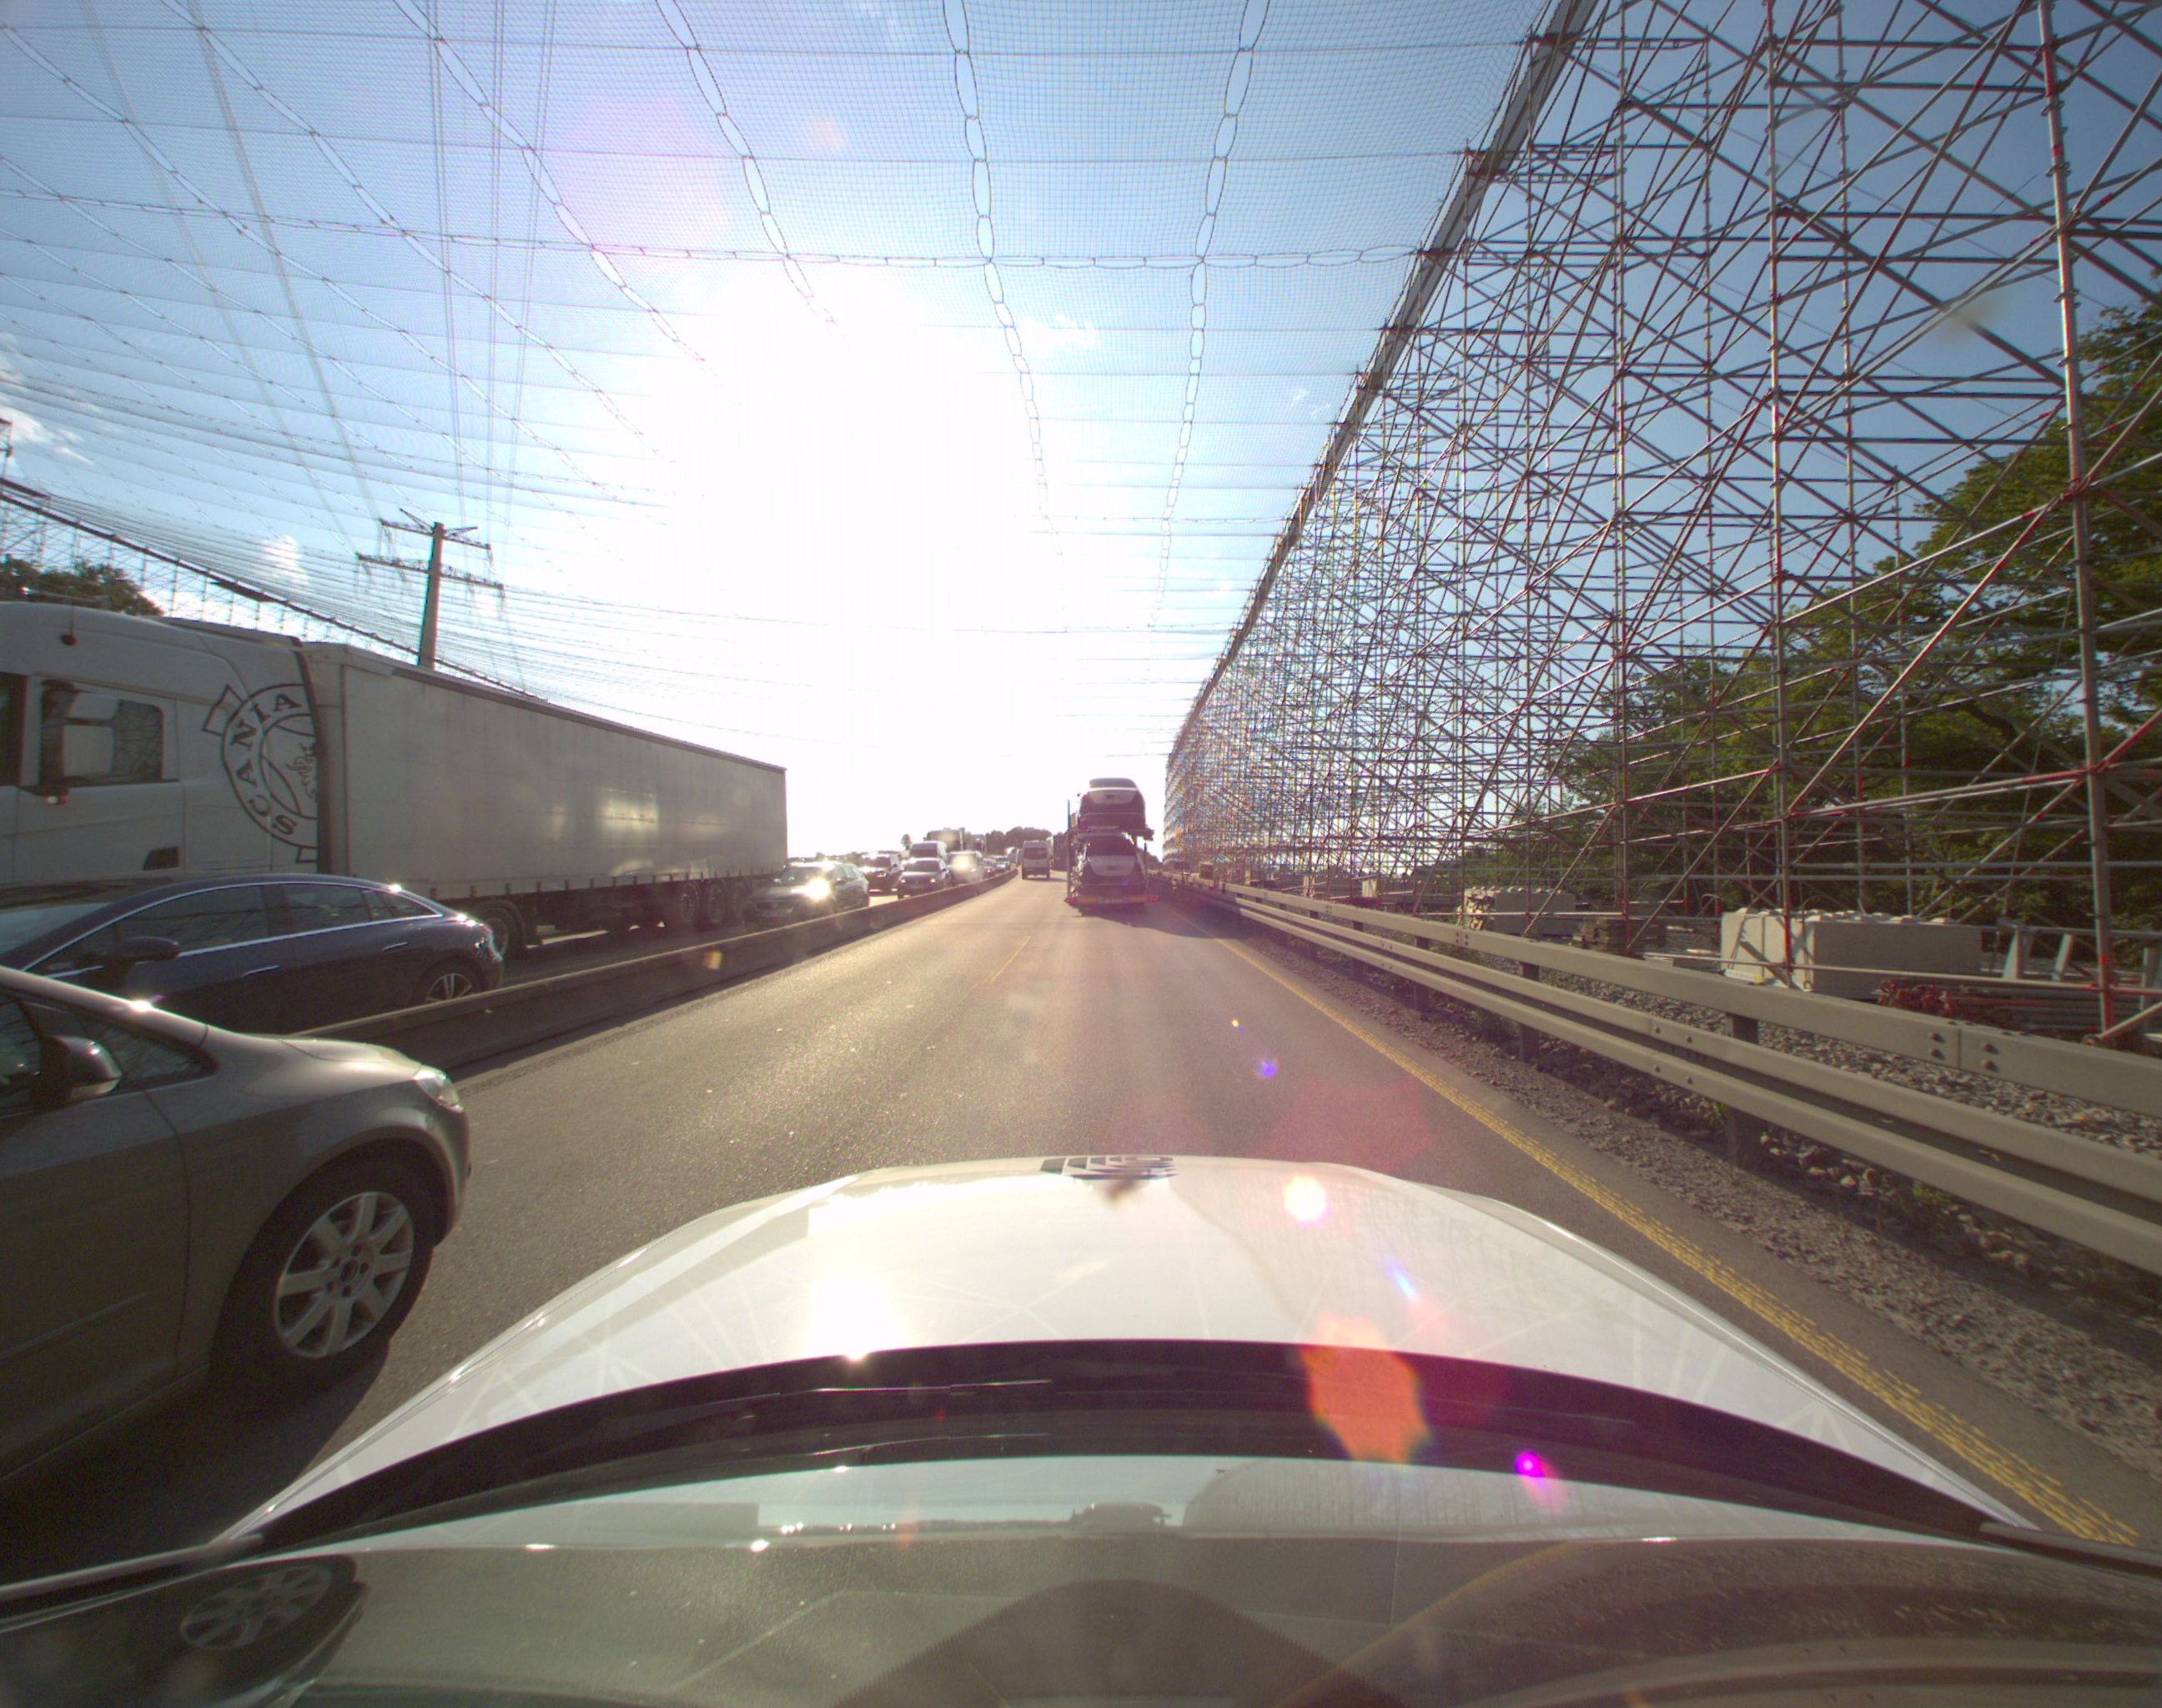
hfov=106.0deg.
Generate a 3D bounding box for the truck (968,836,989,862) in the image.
[{"bbox_3d":[-14.281,-0.629,113.961,2.591,3.473,12.366,0,0,-6],"label":"truck"}]

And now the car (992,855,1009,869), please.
[{"bbox_3d":[-8.694,0.871,88.241,1.700,1.453,3.989,0,0,-8],"label":"car"}]

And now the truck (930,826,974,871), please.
[{"bbox_3d":[-10.606,-0.391,67.988,2.590,3.473,12.373,0,0,-4],"label":"truck"}]

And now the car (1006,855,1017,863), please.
[{"bbox_3d":[-13.079,0.950,152.917,1.706,1.618,3.501,-1,-1,-2],"label":"car"}]

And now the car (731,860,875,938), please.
[{"bbox_3d":[-6.127,0.912,18.530,1.736,1.543,4.405,0,0,0],"label":"car"}]

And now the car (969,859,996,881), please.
[{"bbox_3d":[-6.789,1.082,56.404,1.834,1.453,3.991,0,0,-6],"label":"car"}]

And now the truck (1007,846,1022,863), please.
[{"bbox_3d":[-15.148,0.217,185.527,2.615,3.723,9.629,0,0,-9],"label":"truck"}]

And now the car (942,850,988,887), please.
[{"bbox_3d":[-6.232,0.774,44.235,1.830,1.893,4.001,0,0,1],"label":"car"}]

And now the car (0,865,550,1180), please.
[{"bbox_3d":[-6.150,0.852,5.610,1.778,1.502,4.755,0,0,1],"label":"car"}]

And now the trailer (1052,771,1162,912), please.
[{"bbox_3d":[0.799,-0.234,29.260,2.859,3.725,14.947,-1,-1,1],"label":"trailer"}]

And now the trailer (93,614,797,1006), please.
[{"bbox_3d":[-9.297,-0.452,15.780,2.645,4.233,13.918,0,0,0],"label":"trailer"}]

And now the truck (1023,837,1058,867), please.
[{"bbox_3d":[-6.717,-0.217,132.361,3.689,4.221,13.615,-4,0,-11],"label":"truck"}]

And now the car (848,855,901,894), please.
[{"bbox_3d":[-9.329,0.890,37.060,1.676,1.684,3.993,0,0,-5],"label":"car"}]

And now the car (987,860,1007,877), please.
[{"bbox_3d":[-7.648,1.276,74.116,1.700,1.453,3.989,0,0,-8],"label":"car"}]

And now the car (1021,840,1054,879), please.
[{"bbox_3d":[-3.056,0.407,57.806,1.949,2.621,4.000,-2,-1,1],"label":"car"}]

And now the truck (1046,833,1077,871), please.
[{"bbox_3d":[-2.475,-0.224,97.866,2.729,4.386,11.495,0,0,-6],"label":"truck"}]

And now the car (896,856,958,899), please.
[{"bbox_3d":[-6.176,0.900,33.087,1.689,1.629,4.001,0,0,1],"label":"car"}]

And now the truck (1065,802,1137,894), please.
[{"bbox_3d":[0.867,-0.202,36.701,2.872,3.702,7.325,-1,-1,1],"label":"truck"}]

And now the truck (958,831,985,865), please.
[{"bbox_3d":[-11.997,-0.563,90.096,2.591,3.473,12.366,0,0,-6],"label":"truck"}]

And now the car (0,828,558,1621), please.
[{"bbox_3d":[-3.004,0.740,1.234,1.677,1.574,4.101,-1,-1,2],"label":"car"}]

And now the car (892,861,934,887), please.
[{"bbox_3d":[-9.169,1.069,44.725,1.578,1.332,3.997,-1,-1,-2],"label":"car"}]

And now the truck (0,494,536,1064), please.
[{"bbox_3d":[-9.362,-0.516,8.935,2.654,4.230,6.102,-1,-1,-1],"label":"truck"}]

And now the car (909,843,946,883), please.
[{"bbox_3d":[-10.021,0.565,53.524,1.990,2.541,3.993,0,0,-5],"label":"car"}]

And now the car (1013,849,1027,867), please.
[{"bbox_3d":[-9.082,0.573,121.319,1.990,2.578,3.993,0,0,-5],"label":"car"}]
